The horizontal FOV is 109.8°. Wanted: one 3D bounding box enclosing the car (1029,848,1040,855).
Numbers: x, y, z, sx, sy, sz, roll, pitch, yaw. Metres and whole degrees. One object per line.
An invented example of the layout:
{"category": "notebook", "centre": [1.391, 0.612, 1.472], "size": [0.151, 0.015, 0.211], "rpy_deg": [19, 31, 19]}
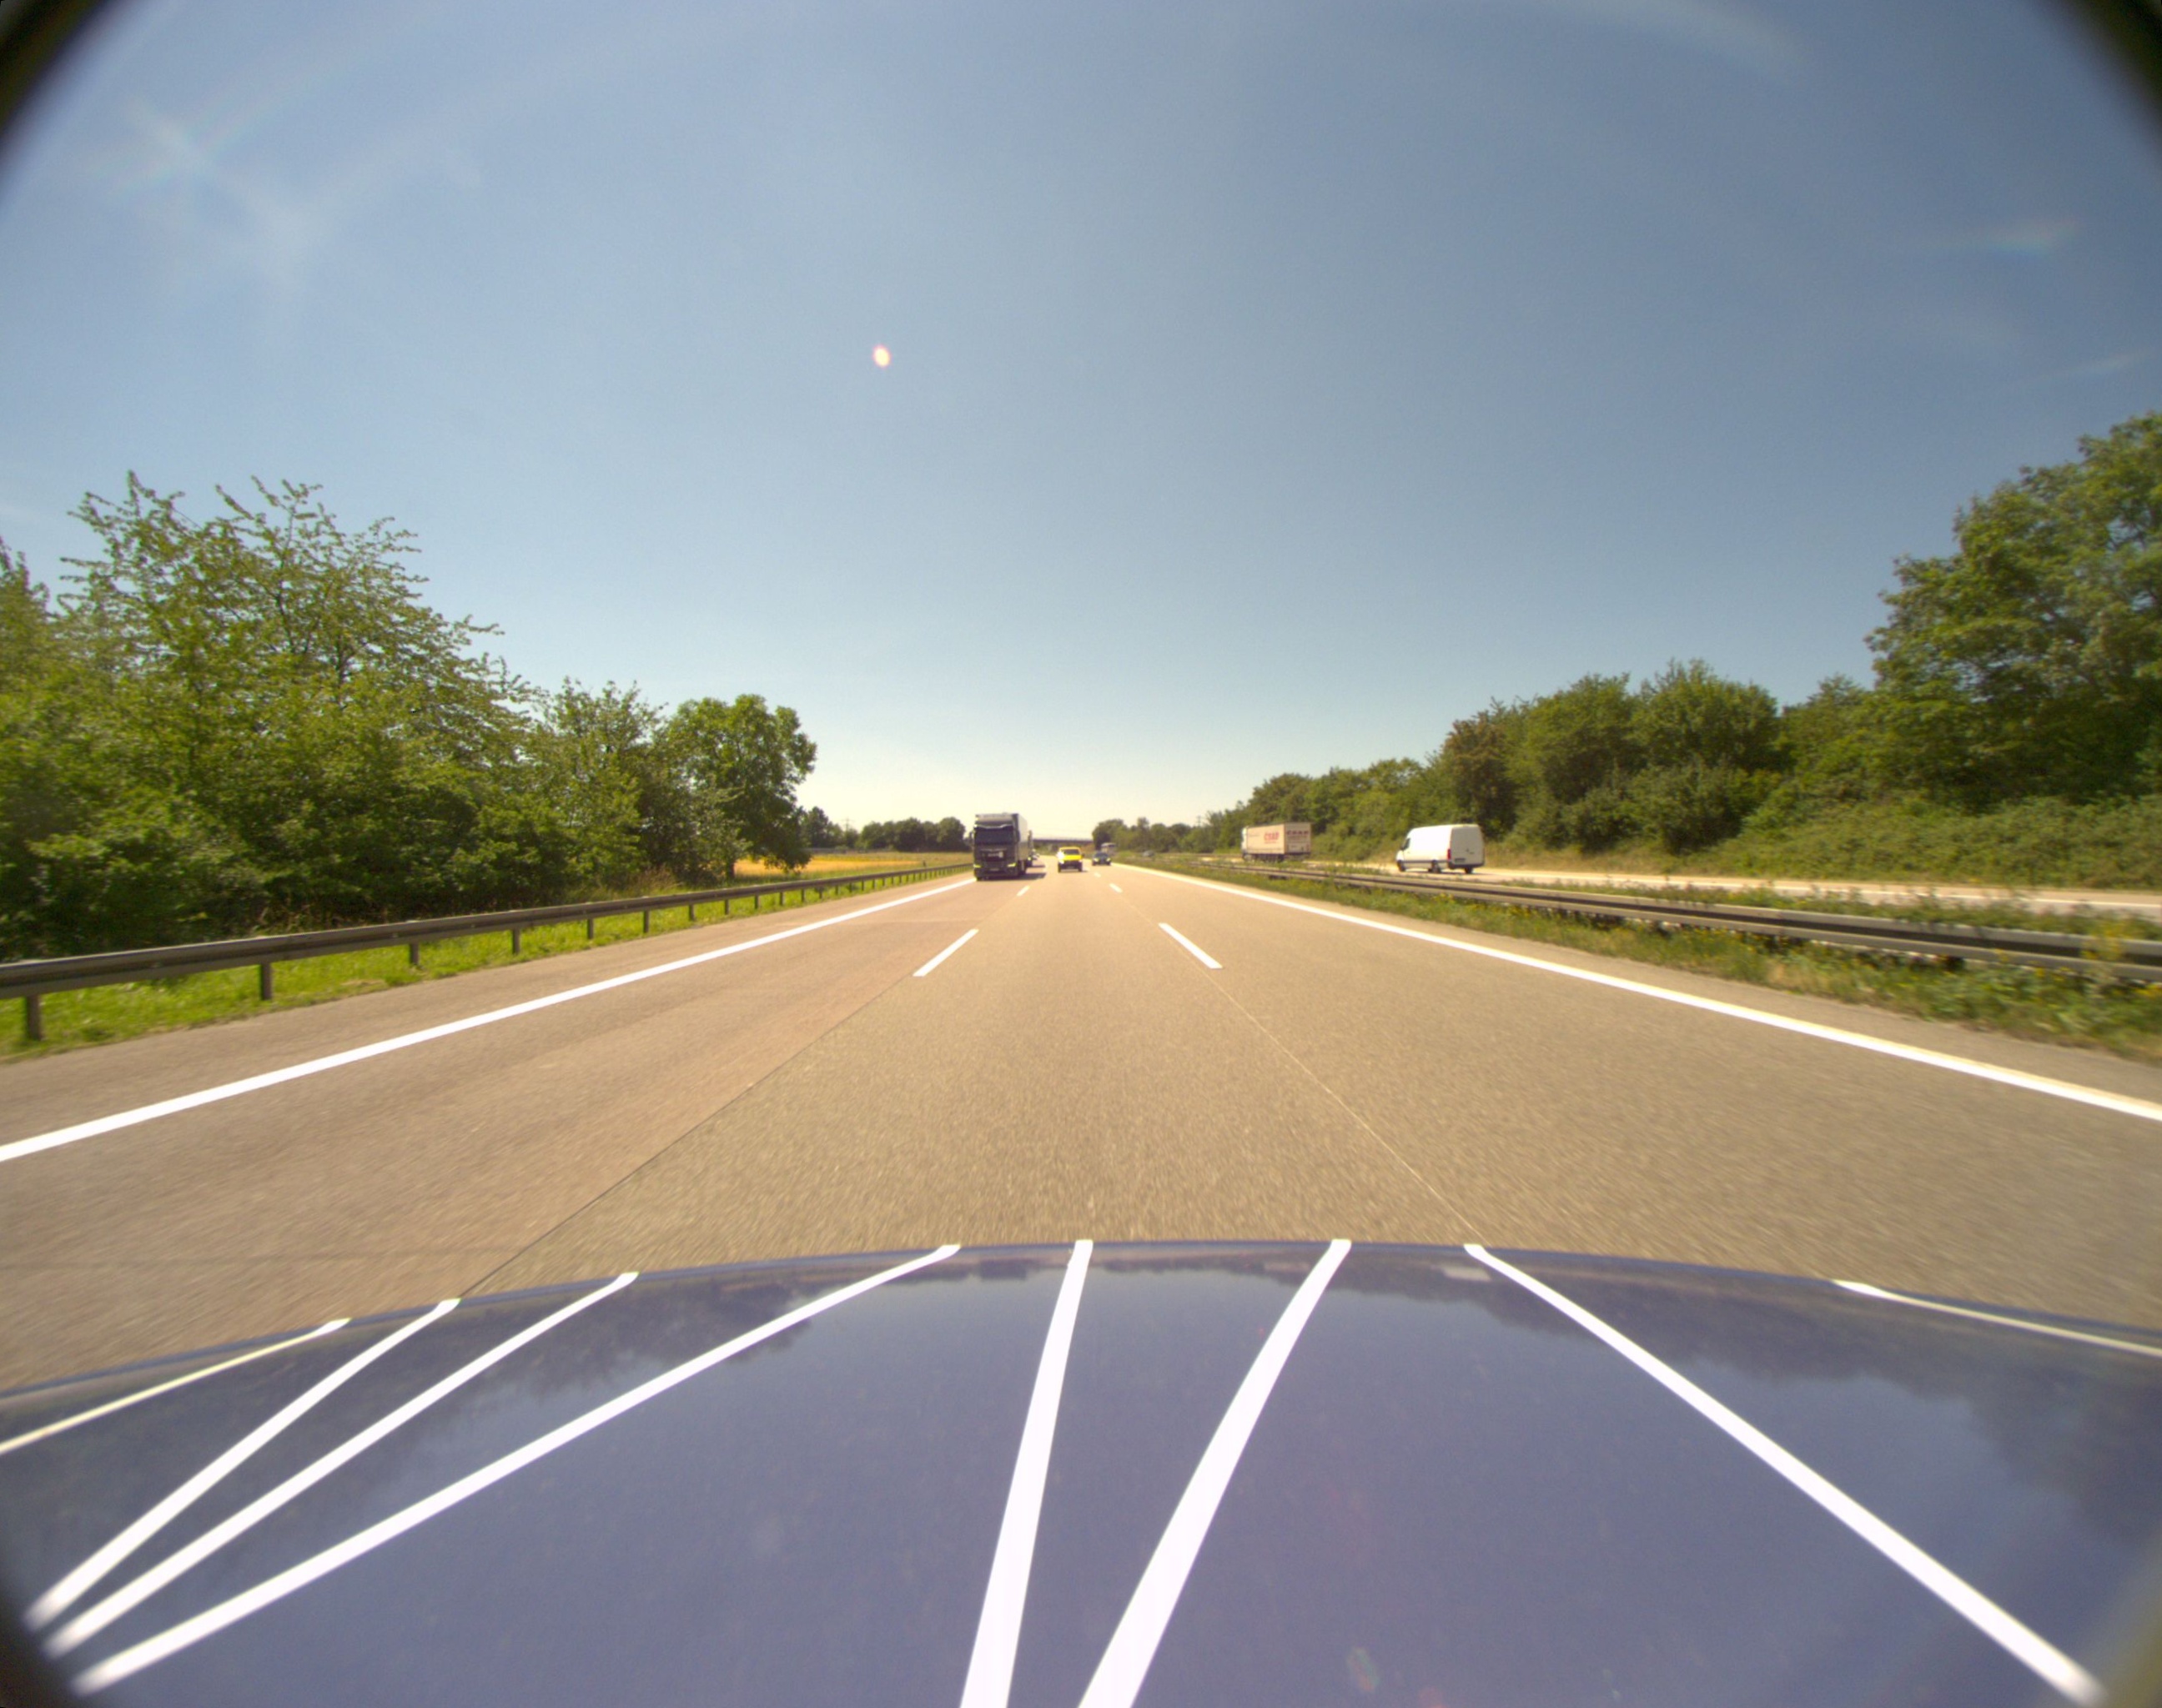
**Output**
{"category": "car", "centre": [-9.384, -0.525, 153.538], "size": [1.786, 1.467, 3.995], "rpy_deg": [0, 1, -12]}

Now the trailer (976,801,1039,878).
{"category": "trailer", "centre": [-4.848, -0.944, 53.186], "size": [2.908, 4.630, 13.984], "rpy_deg": [-1, 1, 0]}

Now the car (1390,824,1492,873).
{"category": "car", "centre": [20.163, -0.311, 43.057], "size": [2.234, 2.562, 7.390], "rpy_deg": [0, 1, 0]}

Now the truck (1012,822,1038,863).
{"category": "truck", "centre": [-5.987, -1.230, 81.433], "size": [2.608, 4.232, 5.086], "rpy_deg": [-1, 1, -4]}

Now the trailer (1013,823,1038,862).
{"category": "trailer", "centre": [-6.499, -1.409, 89.096], "size": [2.603, 4.228, 13.632], "rpy_deg": [-1, 1, -4]}

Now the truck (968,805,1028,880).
{"category": "truck", "centre": [-4.909, -0.667, 45.895], "size": [2.915, 4.231, 4.974], "rpy_deg": [-1, 1, 1]}

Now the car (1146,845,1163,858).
{"category": "car", "centre": [10.879, -0.329, 112.330], "size": [1.999, 1.850, 4.955], "rpy_deg": [0, 1, -1]}

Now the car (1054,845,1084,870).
{"category": "car", "centre": [-0.971, 0.247, 59.403], "size": [1.778, 1.882, 3.829], "rpy_deg": [0, 1, -9]}

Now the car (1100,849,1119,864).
{"category": "car", "centre": [3.044, 0.258, 81.051], "size": [1.726, 1.478, 3.998], "rpy_deg": [-1, 1, -3]}

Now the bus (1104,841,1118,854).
{"category": "bus", "centre": [8.893, -1.919, 224.509], "size": [2.749, 3.686, 12.994], "rpy_deg": [-2, 1, -3]}

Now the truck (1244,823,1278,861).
{"category": "truck", "centre": [19.671, -1.296, 83.200], "size": [2.709, 3.943, 4.442], "rpy_deg": [0, 1, -1]}

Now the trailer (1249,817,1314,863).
{"category": "trailer", "centre": [19.828, -1.347, 76.386], "size": [2.713, 4.160, 13.555], "rpy_deg": [0, 1, -1]}
